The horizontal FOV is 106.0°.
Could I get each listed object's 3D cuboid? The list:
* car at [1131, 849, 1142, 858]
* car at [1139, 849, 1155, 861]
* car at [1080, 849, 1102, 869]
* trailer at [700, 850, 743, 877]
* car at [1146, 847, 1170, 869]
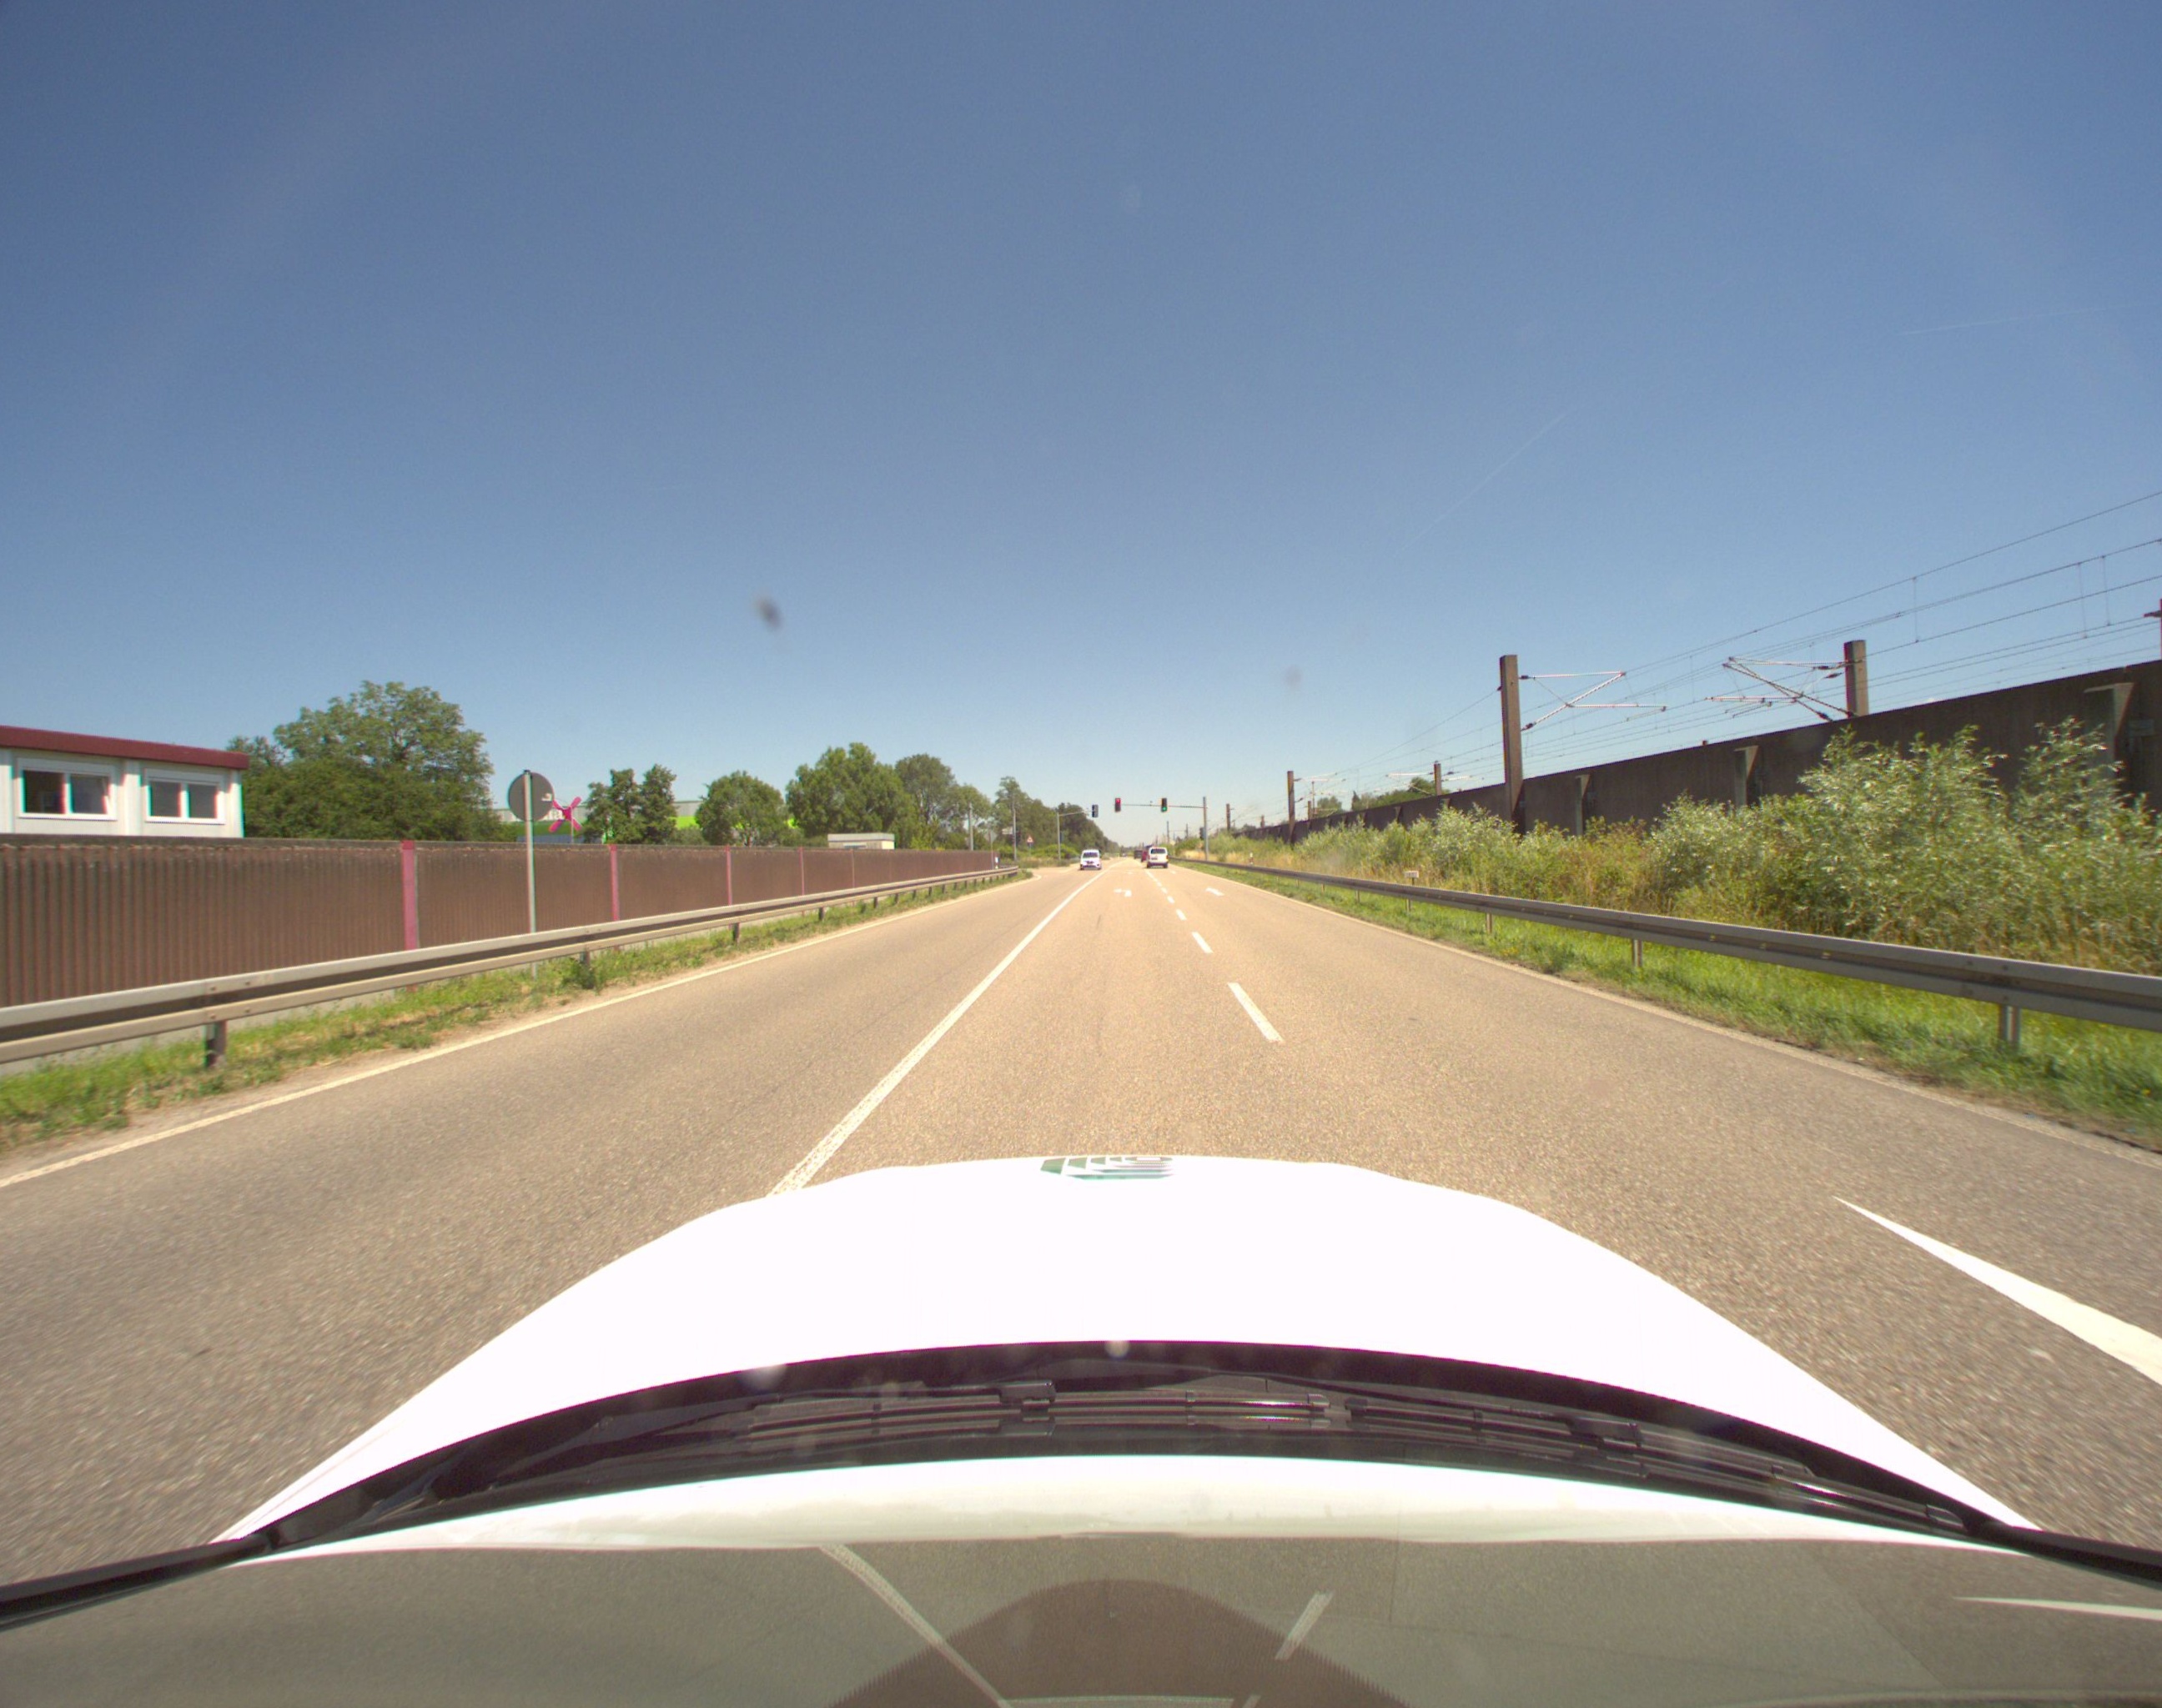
[{"bbox_3d":[11.683,-0.136,170.546,2.147,1.968,4.545,-1,0,2],"label":"car"},{"bbox_3d":[9.421,0.124,116.210,2.012,1.726,4.545,-1,0,2],"label":"car"},{"bbox_3d":[0.903,0.401,73.765,1.880,1.740,4.777,-1,0,1],"label":"car"},{"bbox_3d":[-38.404,1.006,87.003,3.779,2.764,1.804,-1,0,-43],"label":"trailer"},{"bbox_3d":[7.160,0.364,76.288,1.986,1.983,4.062,0,0,2],"label":"car"}]
